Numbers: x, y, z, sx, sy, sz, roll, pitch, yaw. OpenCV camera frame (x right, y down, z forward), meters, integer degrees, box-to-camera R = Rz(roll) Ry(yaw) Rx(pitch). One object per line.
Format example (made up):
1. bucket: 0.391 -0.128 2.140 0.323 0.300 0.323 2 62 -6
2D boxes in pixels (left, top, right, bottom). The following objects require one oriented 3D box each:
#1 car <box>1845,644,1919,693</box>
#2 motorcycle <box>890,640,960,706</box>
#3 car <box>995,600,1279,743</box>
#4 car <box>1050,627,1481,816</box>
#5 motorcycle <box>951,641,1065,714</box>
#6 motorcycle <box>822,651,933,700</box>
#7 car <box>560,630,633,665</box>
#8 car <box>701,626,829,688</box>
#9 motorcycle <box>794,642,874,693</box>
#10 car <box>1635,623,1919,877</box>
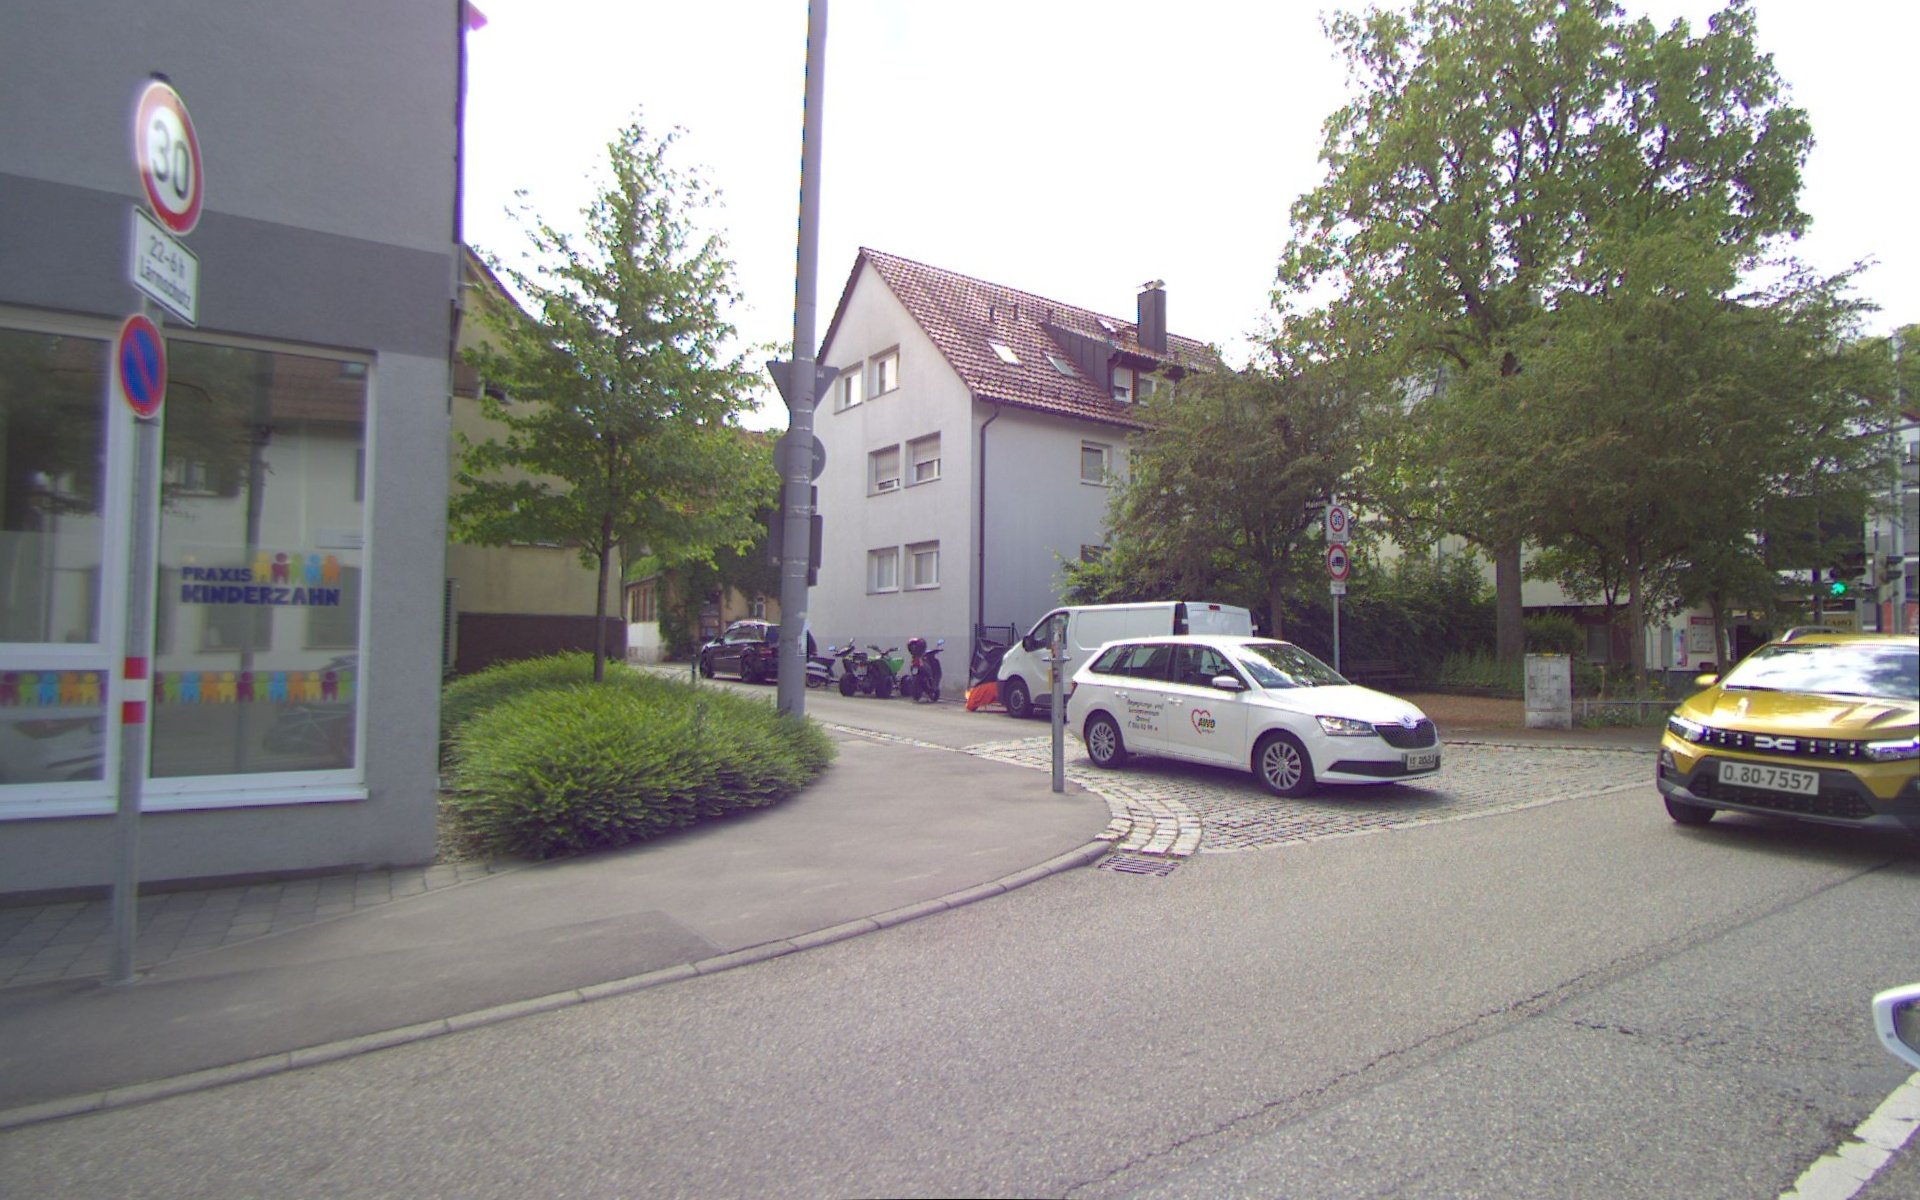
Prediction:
1. car: 29.673 2.094 30.686 1.788 1.444 3.667 2 -2 -36
2. motorcycle: -0.735 1.526 21.474 0.674 1.353 1.597 -1 -2 34
3. car: 2.789 1.090 16.840 2.075 2.035 4.590 2 -2 -35
4. car: 2.941 1.068 10.568 1.802 1.533 4.188 0 -1 -33
5. motorcycle: 0.943 1.496 19.633 2.111 1.350 0.837 2 -2 -31
6. motorcycle: -1.857 1.690 22.972 1.189 1.018 2.325 -1 -2 44
7. car: -15.130 1.942 41.660 1.818 1.387 4.118 2 -2 -35
8. car: -5.545 1.546 28.266 2.018 1.596 4.118 2 -2 -35
9. motorcycle: -3.170 1.679 25.300 1.938 1.239 0.466 1 -2 -25
10. car: 7.152 0.970 7.900 3.959 1.558 1.717 1 -2 -34
